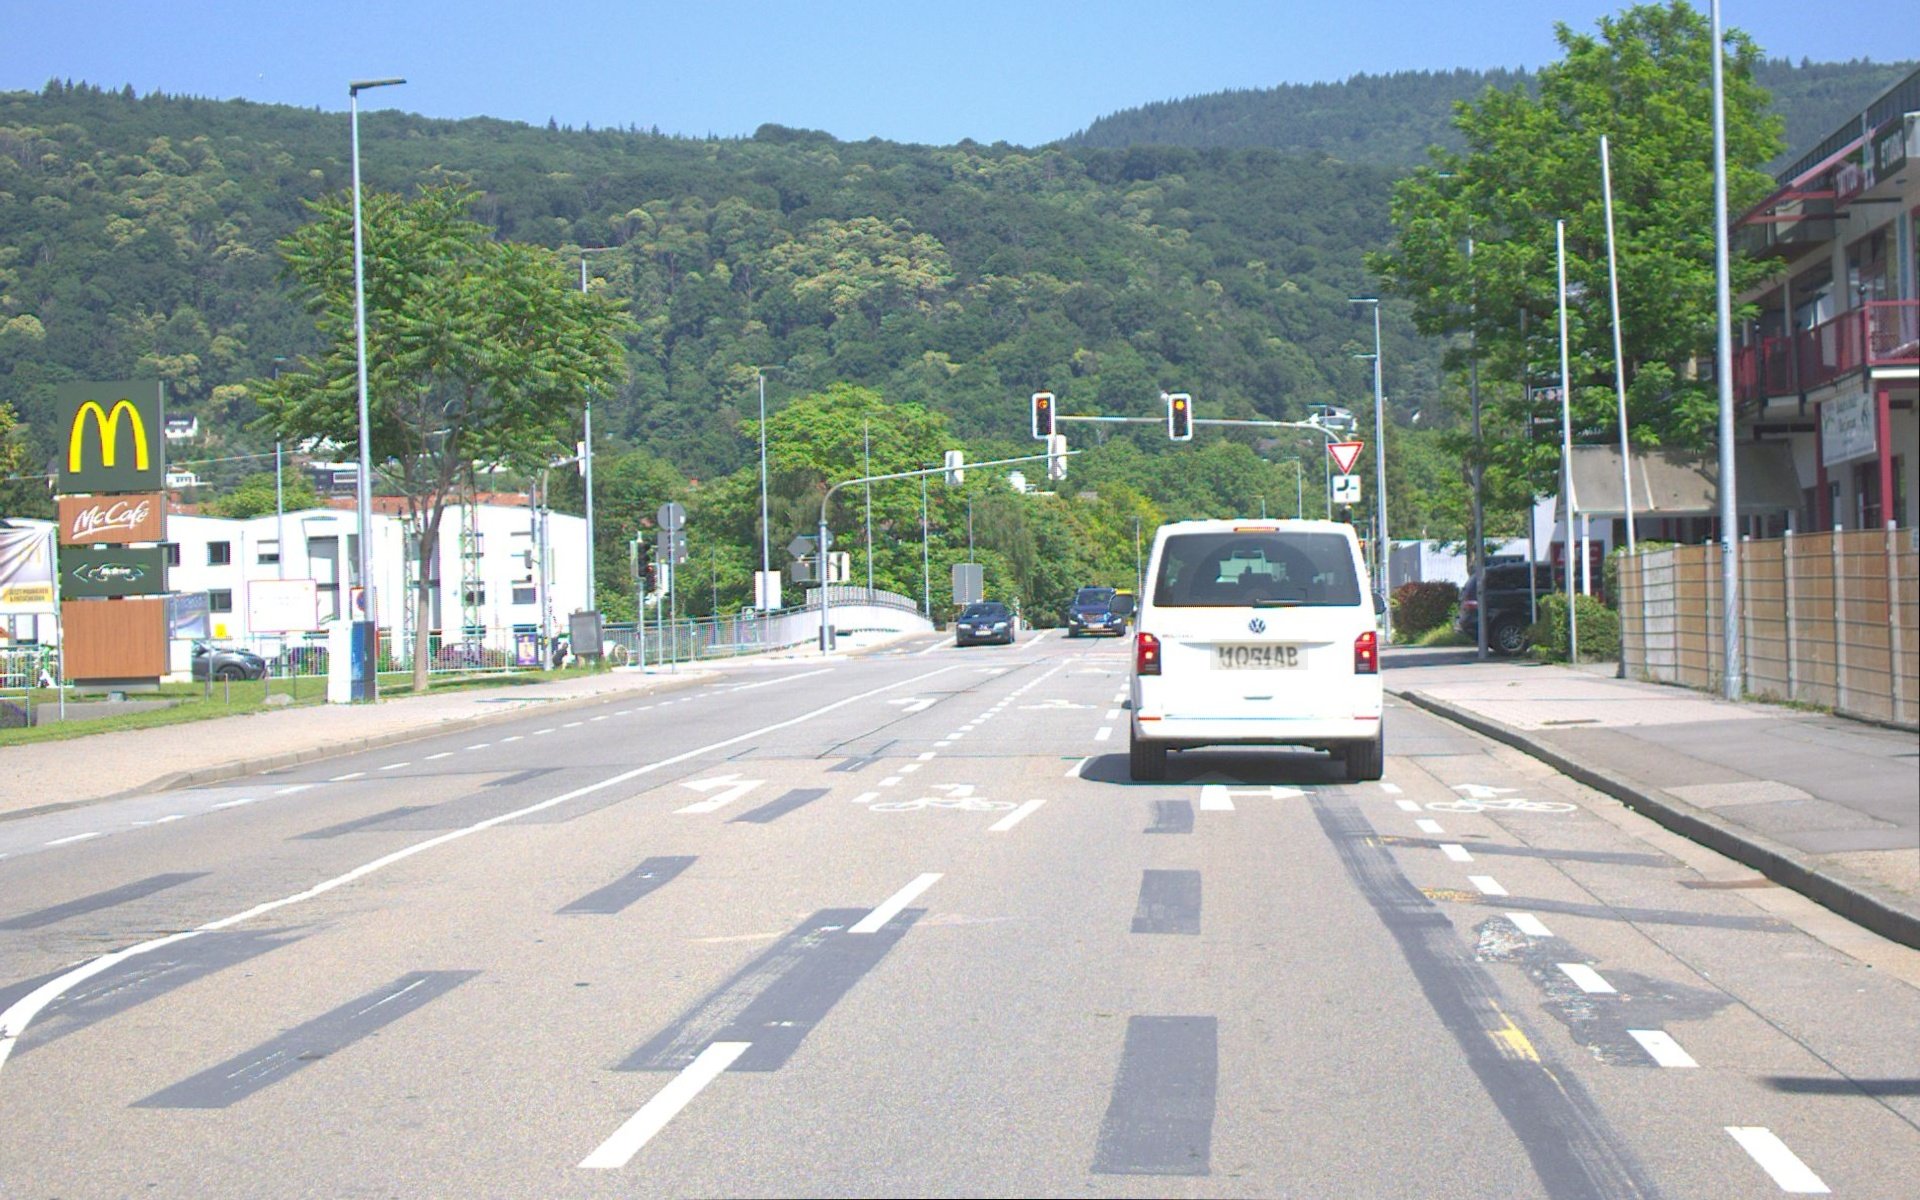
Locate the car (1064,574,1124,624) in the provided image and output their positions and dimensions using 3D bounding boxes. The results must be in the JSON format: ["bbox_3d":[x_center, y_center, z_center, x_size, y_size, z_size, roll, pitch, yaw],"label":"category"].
[{"bbox_3d":[4.568,-0.061,116.631,1.850,1.583,4.000,-2,1,4],"label":"car"}]

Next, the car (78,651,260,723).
[{"bbox_3d":[-19.871,2.165,86.499,4.314,1.587,2.000,-2,1,-10],"label":"car"}]

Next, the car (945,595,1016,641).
[{"bbox_3d":[0.688,0.563,112.625,1.994,1.365,4.326,-2,1,4],"label":"car"}]

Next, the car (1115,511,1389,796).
[{"bbox_3d":[2.218,0.352,27.177,1.934,2.052,4.544,0,1,2],"label":"car"}]

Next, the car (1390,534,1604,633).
[{"bbox_3d":[10.431,-0.332,66.746,3.988,1.769,1.999,-2,1,10],"label":"car"}]

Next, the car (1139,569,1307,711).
[{"bbox_3d":[3.262,0.456,43.368,1.934,1.681,4.544,0,1,2],"label":"car"}]

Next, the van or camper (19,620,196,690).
[{"bbox_3d":[-20.098,1.300,81.116,3.986,1.568,2.001,1,1,-14],"label":"van or camper"}]
